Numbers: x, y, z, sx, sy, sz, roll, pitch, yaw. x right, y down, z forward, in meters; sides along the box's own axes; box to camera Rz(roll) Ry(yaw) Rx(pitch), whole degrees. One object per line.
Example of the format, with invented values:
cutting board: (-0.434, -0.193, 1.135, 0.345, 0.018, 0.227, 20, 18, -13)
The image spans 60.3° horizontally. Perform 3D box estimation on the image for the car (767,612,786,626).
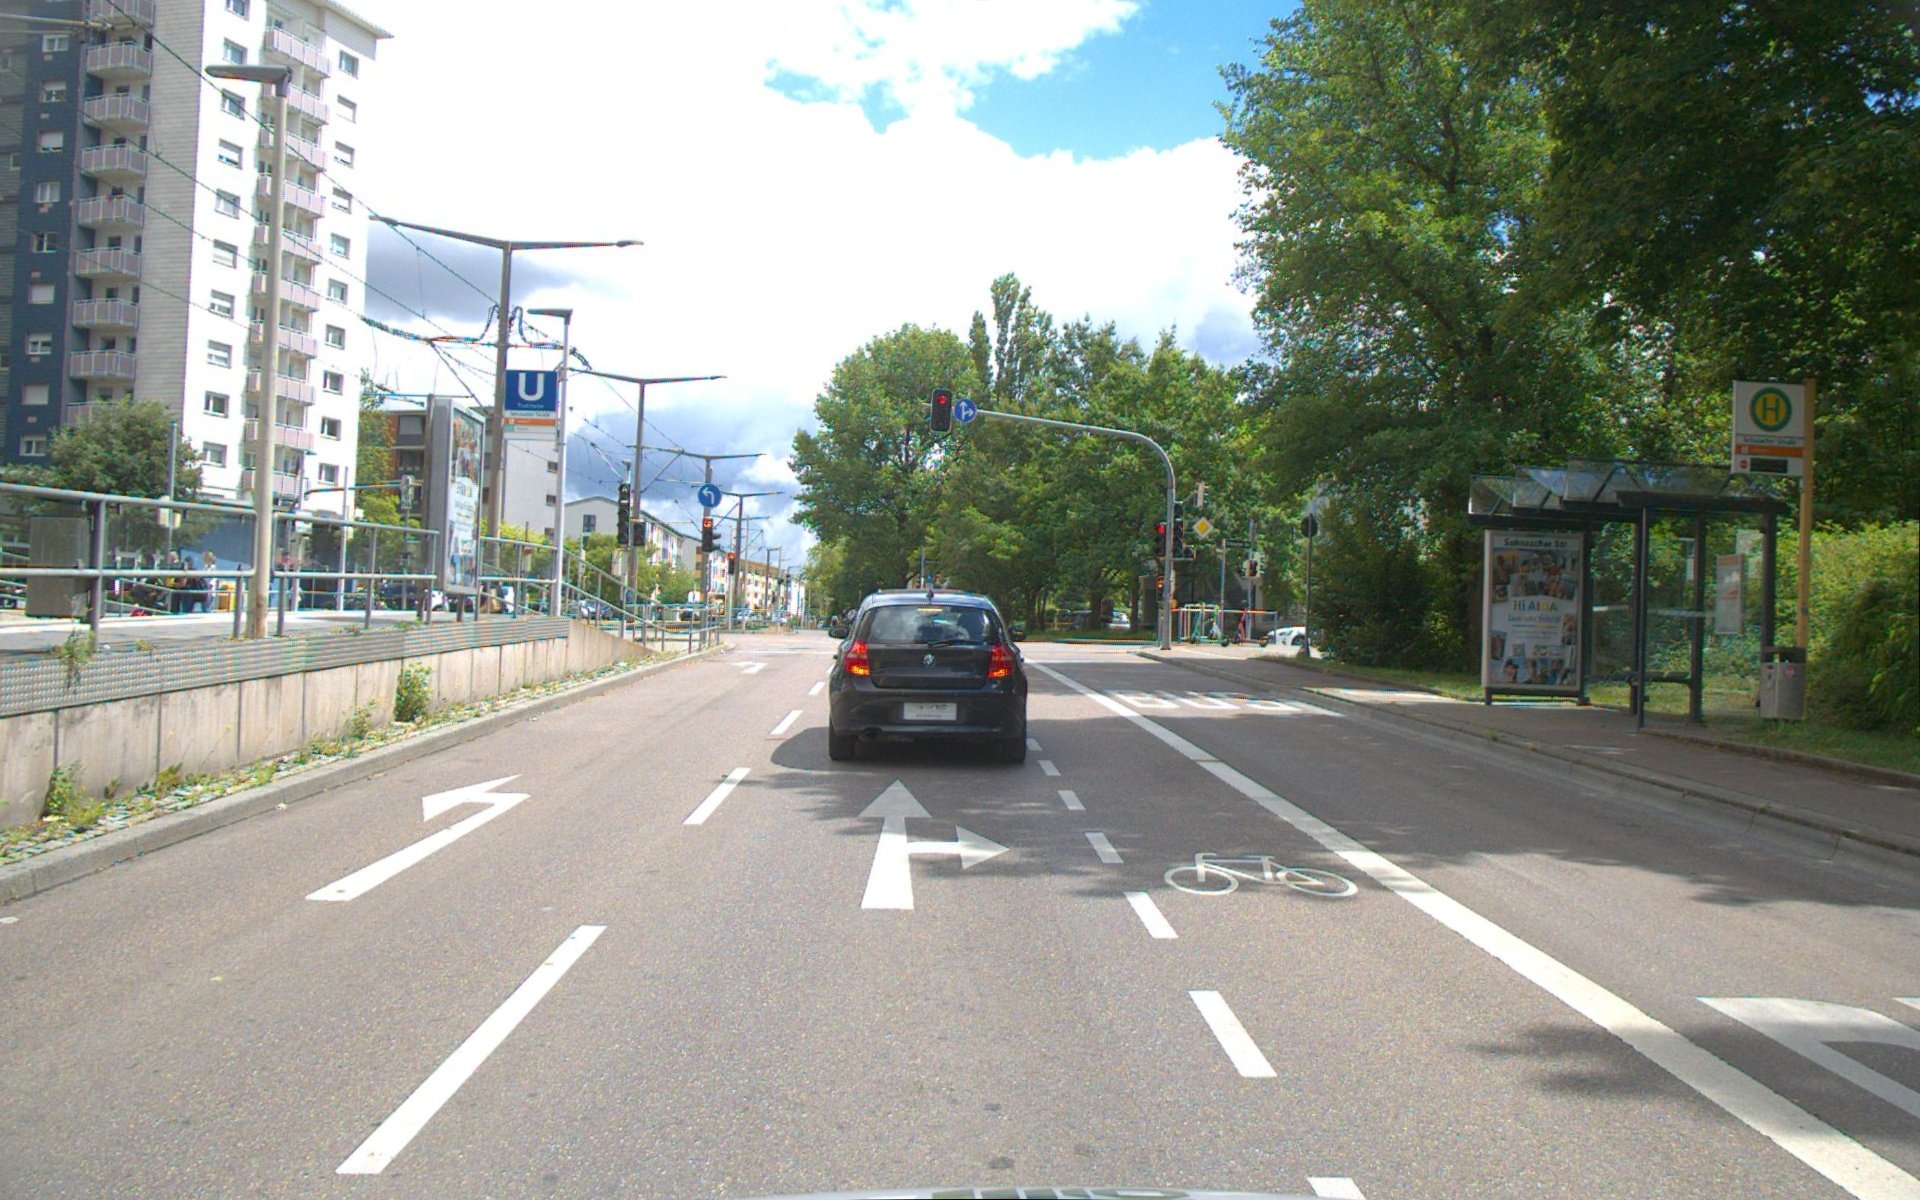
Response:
car: (-21.759, 2.247, 196.196, 1.927, 1.624, 3.997, 1, 0, -4)

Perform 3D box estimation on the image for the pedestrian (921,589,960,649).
pedestrian: (-0.486, 0.470, 41.724, 0.846, 1.468, 0.799, 1, 0, 7)

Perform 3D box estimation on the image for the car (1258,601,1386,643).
car: (14.018, 0.850, 64.157, 4.492, 1.553, 1.939, 1, 0, -12)

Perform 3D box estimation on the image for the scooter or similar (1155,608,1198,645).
scooter or similar: (5.795, 0.715, 44.285, 1.102, 0.974, 0.299, 1, 0, -17)

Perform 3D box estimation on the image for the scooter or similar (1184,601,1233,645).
scooter or similar: (6.830, 0.628, 45.427, 1.267, 1.210, 0.383, 1, 0, -17)

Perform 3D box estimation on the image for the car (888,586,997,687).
car: (-0.272, 0.525, 25.906, 1.562, 1.443, 3.516, 1, 0, -1)

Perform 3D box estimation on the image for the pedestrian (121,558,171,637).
pedestrian: (-16.809, -0.055, 34.168, 0.595, 1.611, 0.775, 1, 0, 1)

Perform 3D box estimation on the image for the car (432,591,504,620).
car: (-26.779, 0.302, 90.060, 3.538, 1.488, 1.613, 1, 0, -10)

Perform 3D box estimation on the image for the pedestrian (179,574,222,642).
pedestrian: (-15.409, 0.161, 33.542, 0.680, 1.366, 0.851, 1, 0, -32)

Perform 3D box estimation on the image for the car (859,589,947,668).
car: (-1.147, 0.518, 32.713, 1.621, 1.443, 3.515, 1, 0, -3)

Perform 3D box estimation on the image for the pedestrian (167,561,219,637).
pedestrian: (-16.487, -0.018, 35.551, 0.842, 1.605, 0.622, 1, 0, -10)

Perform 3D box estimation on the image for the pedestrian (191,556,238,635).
pedestrian: (-16.545, -0.099, 36.724, 0.666, 1.736, 0.826, 1, 0, -3)

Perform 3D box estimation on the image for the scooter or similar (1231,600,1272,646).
scooter or similar: (8.173, 0.652, 46.319, 1.087, 1.280, 0.331, 1, 0, -13)

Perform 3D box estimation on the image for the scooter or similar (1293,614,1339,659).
scooter or similar: (8.856, 0.910, 41.166, 1.133, 1.118, 0.329, 1, 0, -25)

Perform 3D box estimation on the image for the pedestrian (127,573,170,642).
pedestrian: (-16.337, 0.146, 33.295, 0.656, 1.366, 0.551, 1, 0, 41)

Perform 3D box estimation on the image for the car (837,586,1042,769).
car: (-0.146, 0.608, 15.016, 1.620, 1.443, 3.517, 1, 0, 0)

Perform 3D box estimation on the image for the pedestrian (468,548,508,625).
pedestrian: (-10.300, -0.293, 36.128, 0.686, 1.661, 0.638, 0, 0, 0)
